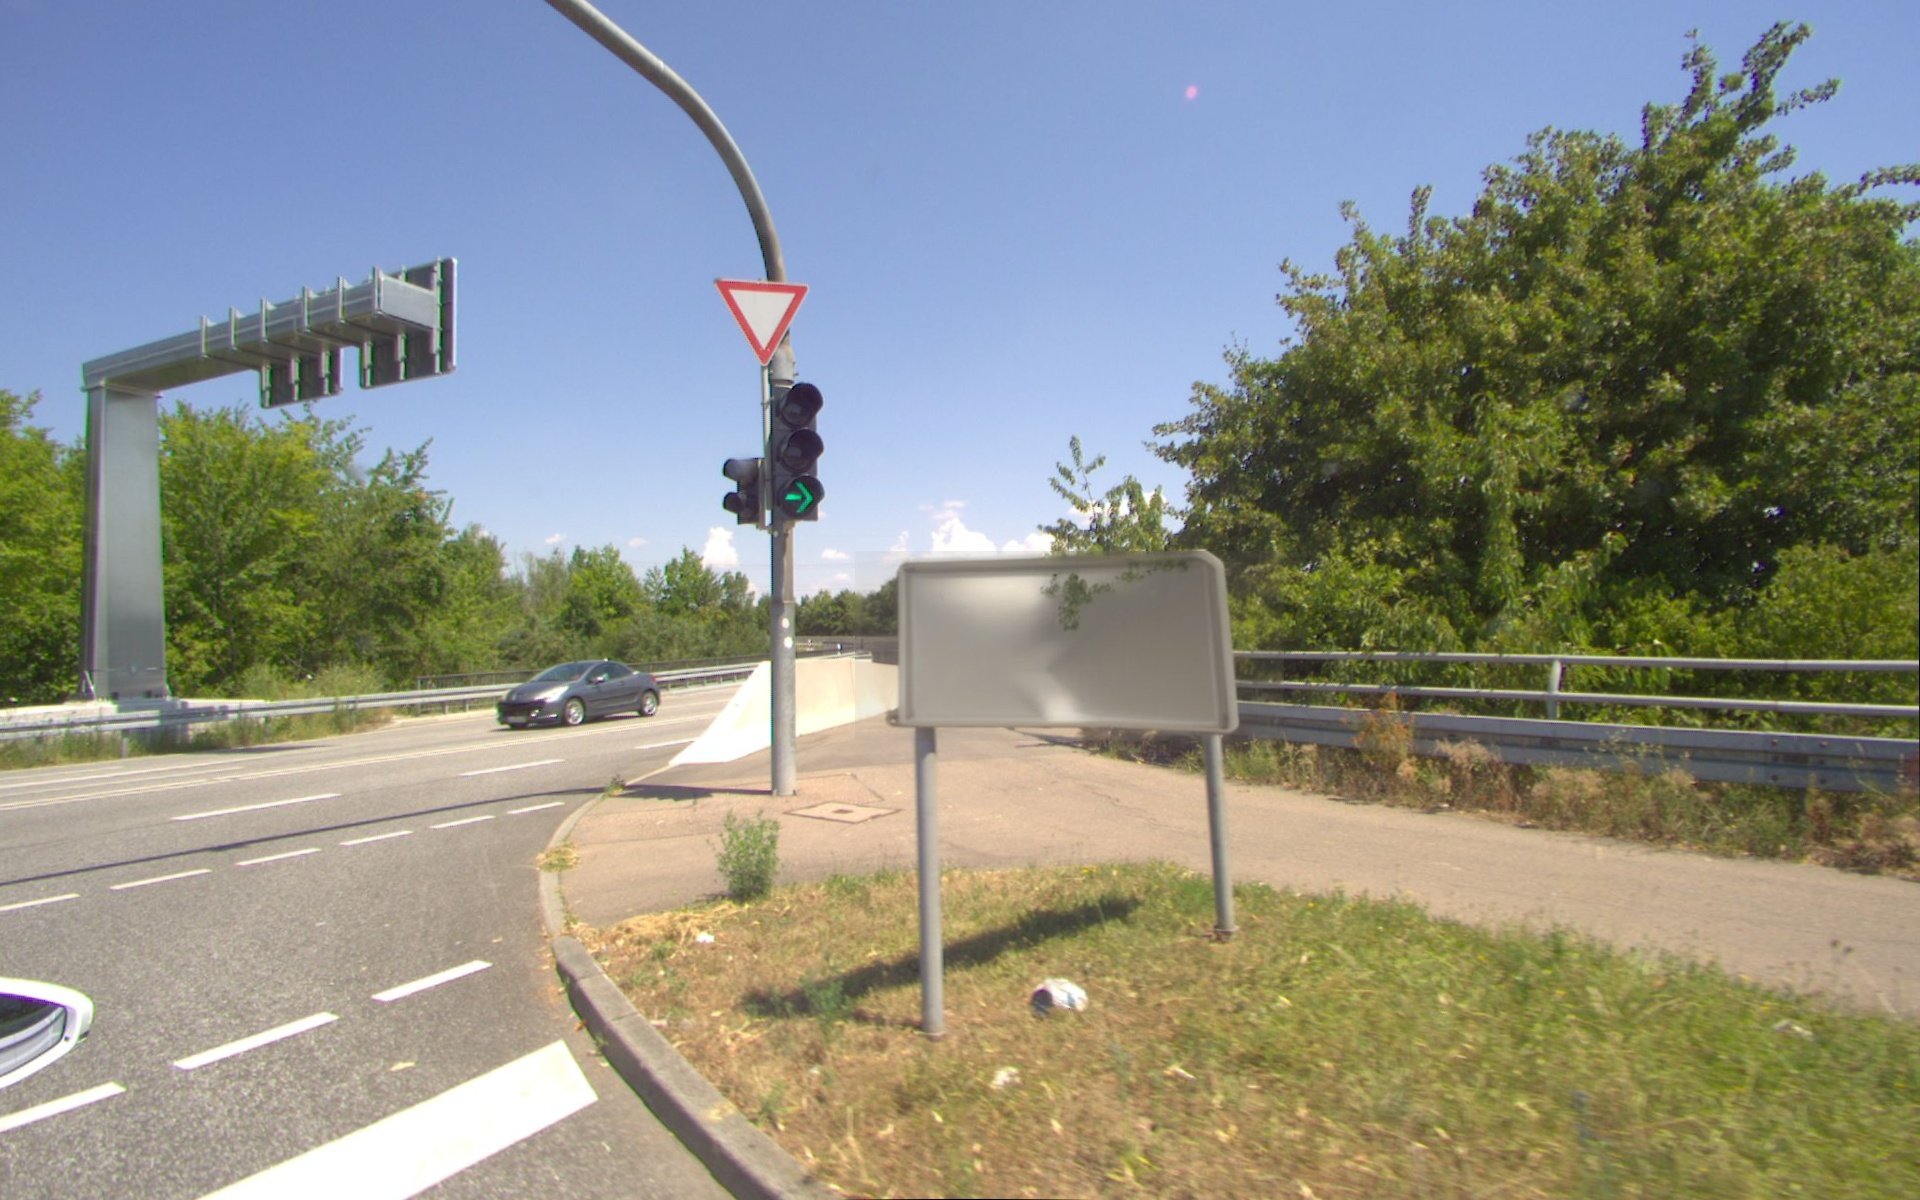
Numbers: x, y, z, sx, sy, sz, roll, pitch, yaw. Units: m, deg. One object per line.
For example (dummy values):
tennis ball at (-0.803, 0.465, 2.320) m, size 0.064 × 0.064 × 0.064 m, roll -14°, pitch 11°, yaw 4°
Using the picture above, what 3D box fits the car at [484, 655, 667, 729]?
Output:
car at (-8.522, 2.008, 22.557) m, size 1.623 × 1.369 × 3.961 m, roll -4°, pitch -3°, yaw 20°

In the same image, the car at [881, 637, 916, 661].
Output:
car at (-4.324, 3.467, 69.914) m, size 1.809 × 1.502 × 4.838 m, roll -3°, pitch -3°, yaw -11°
